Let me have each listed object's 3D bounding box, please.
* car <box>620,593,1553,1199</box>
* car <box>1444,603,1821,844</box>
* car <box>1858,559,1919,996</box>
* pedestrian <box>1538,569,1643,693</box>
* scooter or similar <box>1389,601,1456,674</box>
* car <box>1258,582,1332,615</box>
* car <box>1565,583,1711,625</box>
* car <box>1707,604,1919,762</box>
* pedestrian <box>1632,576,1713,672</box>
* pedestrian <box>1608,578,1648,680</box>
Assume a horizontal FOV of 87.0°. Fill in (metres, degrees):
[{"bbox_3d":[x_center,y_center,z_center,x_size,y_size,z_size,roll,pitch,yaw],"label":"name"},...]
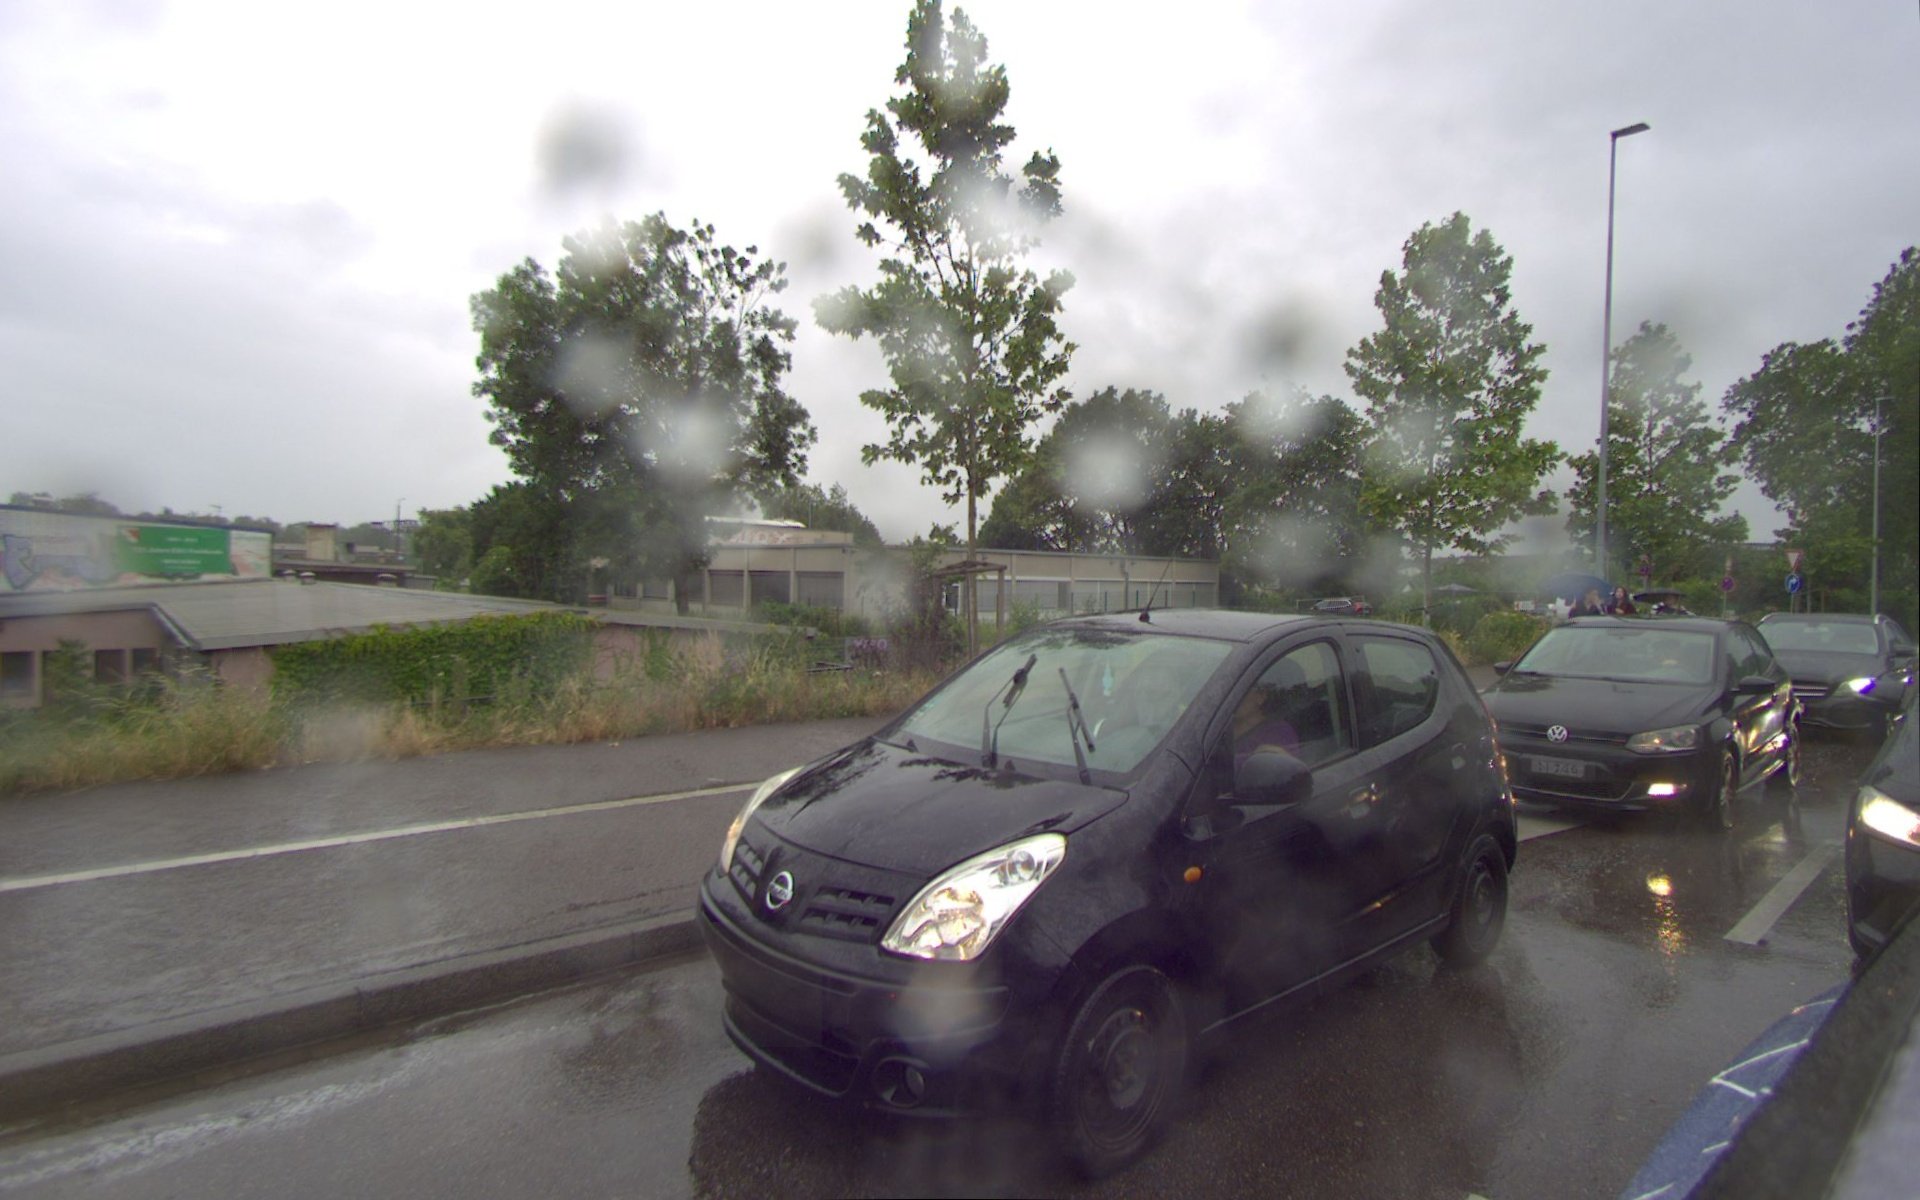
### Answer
[{"bbox_3d":[0.754,0.714,3.884,3.561,1.447,1.631,0,0,-42],"label":"car"},{"bbox_3d":[5.379,0.759,7.936,3.561,1.447,1.631,0,0,-42],"label":"car"},{"bbox_3d":[5.503,0.634,4.541,4.091,1.607,1.688,-1,0,-41],"label":"car"},{"bbox_3d":[9.608,0.439,15.437,0.953,1.777,1.081,0,3,-42],"label":"pedestrian"},{"bbox_3d":[7.901,0.612,17.249,1.747,1.144,0.380,-1,2,-43],"label":"scooter or similar"},{"bbox_3d":[20.999,-0.108,63.478,1.964,2.039,3.996,0,0,-38],"label":"car"},{"bbox_3d":[28.311,0.152,42.381,1.966,1.670,4.752,-1,1,-42],"label":"car"},{"bbox_3d":[10.746,0.877,12.476,3.747,1.594,1.697,-1,0,-41],"label":"car"},{"bbox_3d":[13.521,0.426,19.211,0.876,1.729,1.024,0,3,-41],"label":"pedestrian"},{"bbox_3d":[11.273,0.473,17.079,0.433,1.682,0.400,0,3,-42],"label":"pedestrian"}]
